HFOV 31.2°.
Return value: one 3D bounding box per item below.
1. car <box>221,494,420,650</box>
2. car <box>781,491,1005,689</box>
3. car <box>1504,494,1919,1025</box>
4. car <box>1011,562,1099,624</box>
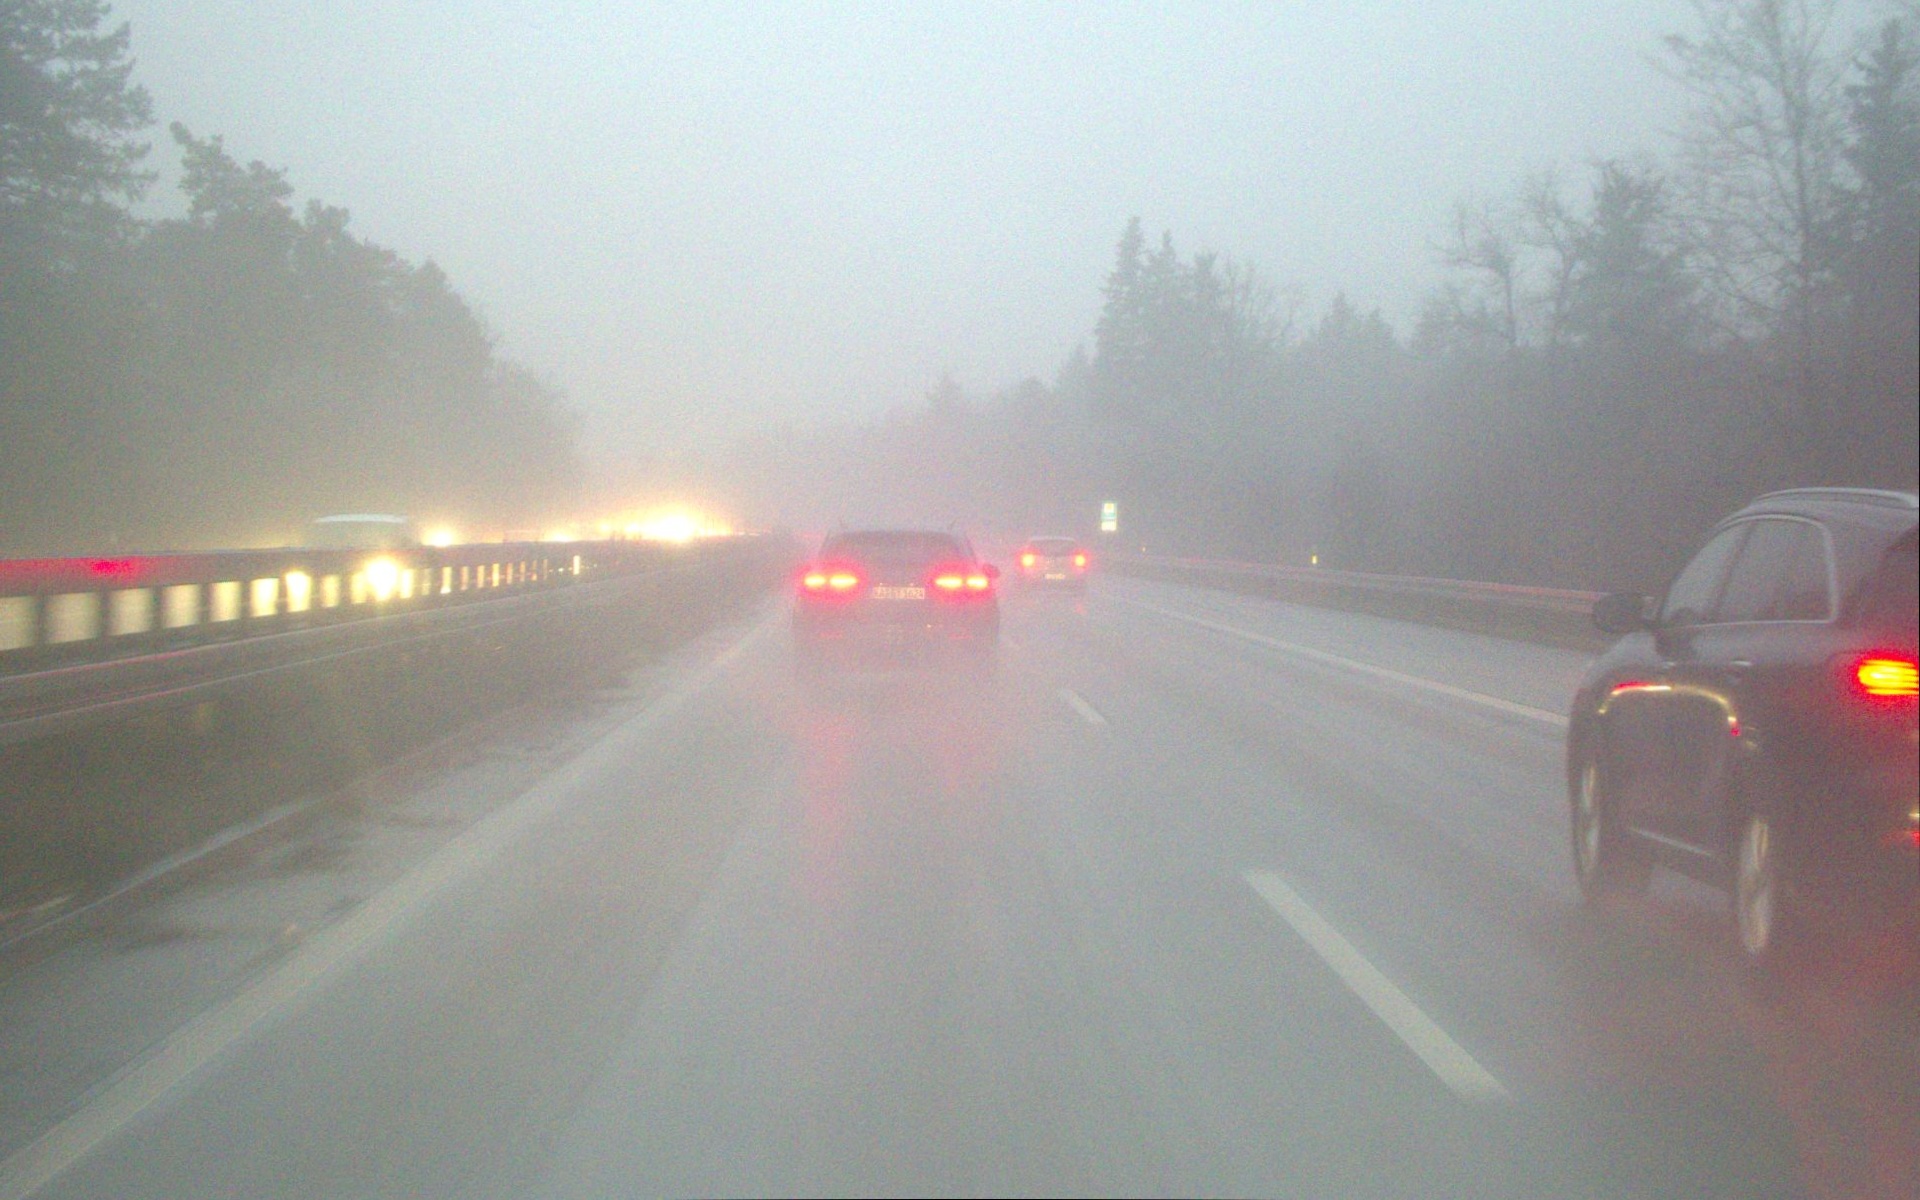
[{"bbox_3d":[-8.633,-0.409,46.782,1.932,2.007,4.640,0,1,-1],"label":"car"},{"bbox_3d":[-0.710,-0.131,32.832,1.986,1.761,4.174,0,1,-3],"label":"car"},{"bbox_3d":[3.521,0.475,13.230,2.070,1.692,4.461,0,1,-1],"label":"car"},{"bbox_3d":[2.267,-0.178,83.245,1.780,1.432,3.538,1,1,-4],"label":"car"}]
